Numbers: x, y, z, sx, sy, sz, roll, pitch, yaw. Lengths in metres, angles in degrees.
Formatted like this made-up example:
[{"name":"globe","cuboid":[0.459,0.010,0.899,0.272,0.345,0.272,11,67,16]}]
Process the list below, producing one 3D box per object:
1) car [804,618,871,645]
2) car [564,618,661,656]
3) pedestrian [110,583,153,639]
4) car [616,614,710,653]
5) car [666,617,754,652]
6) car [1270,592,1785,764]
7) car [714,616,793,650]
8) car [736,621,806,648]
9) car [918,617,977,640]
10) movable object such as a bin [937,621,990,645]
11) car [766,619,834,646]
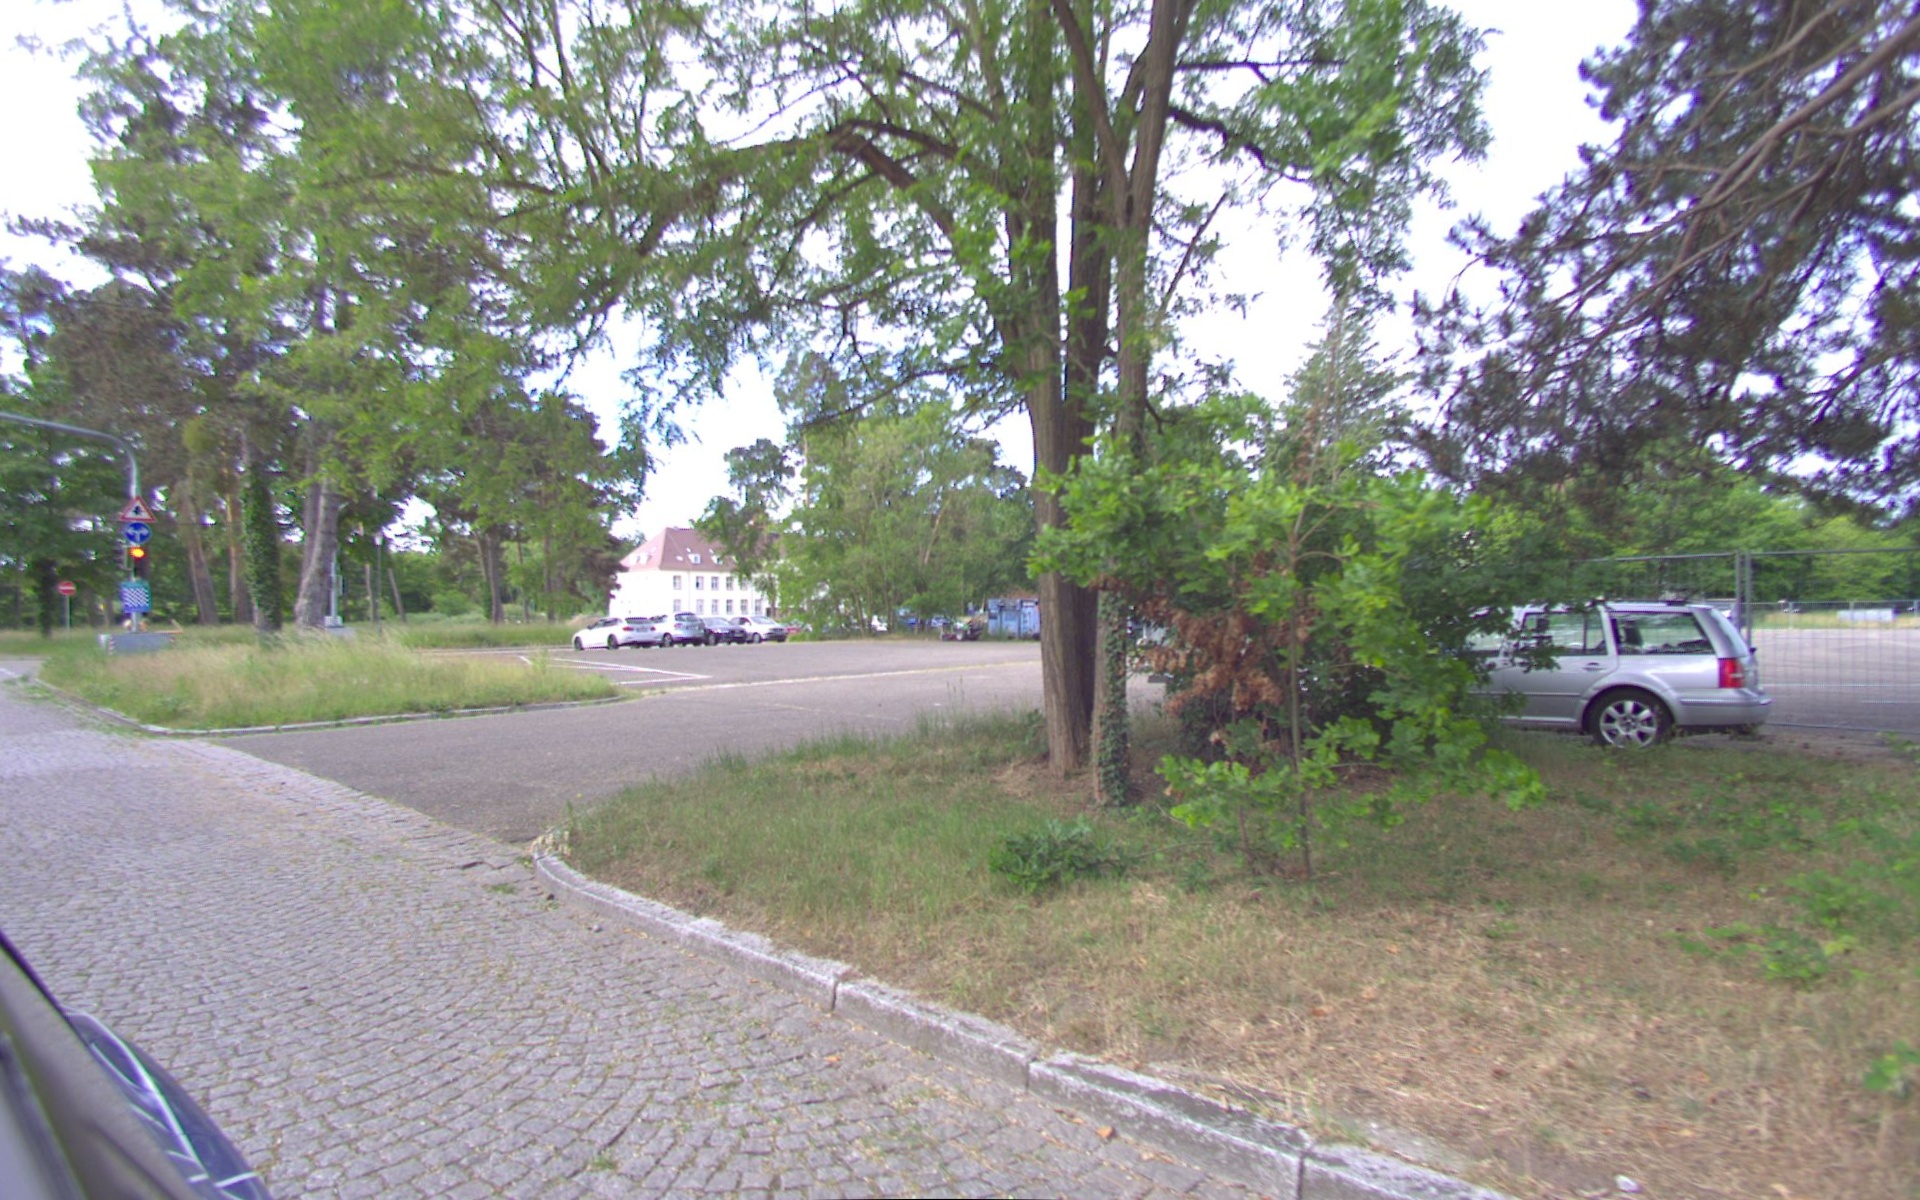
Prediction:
[{"name":"car","cuboid":[-8.198,2.119,67.444,4.581,1.571,1.816,-4,-3,40]},{"name":"car","cuboid":[-14.989,1.618,43.561,4.651,1.461,1.816,-4,-3,40]},{"name":"pedestrian","cuboid":[-23.322,0.308,28.503,0.869,1.529,0.824,0,-1,-33]},{"name":"car","cuboid":[-13.422,1.529,45.619,4.581,1.590,1.816,-4,-3,40]},{"name":"car","cuboid":[-11.833,1.649,47.708,4.584,1.480,1.815,-4,-3,43]},{"name":"car","cuboid":[5.744,0.705,10.613,4.463,1.449,1.698,-2,-1,40]},{"name":"car","cuboid":[-10.224,1.630,49.912,4.113,1.533,1.713,-4,-3,43]},{"name":"car","cuboid":[-11.941,2.179,63.690,4.581,1.533,1.816,-4,-3,40]},{"name":"car","cuboid":[-0.940,2.122,75.357,4.284,1.533,1.726,-4,-3,40]},{"name":"movable object such as a bin","cuboid":[0.141,1.370,41.851,1.932,0.940,1.029,-2,-2,36]},{"name":"car","cuboid":[-10.447,2.137,65.831,4.581,1.533,1.816,-4,-3,40]}]
